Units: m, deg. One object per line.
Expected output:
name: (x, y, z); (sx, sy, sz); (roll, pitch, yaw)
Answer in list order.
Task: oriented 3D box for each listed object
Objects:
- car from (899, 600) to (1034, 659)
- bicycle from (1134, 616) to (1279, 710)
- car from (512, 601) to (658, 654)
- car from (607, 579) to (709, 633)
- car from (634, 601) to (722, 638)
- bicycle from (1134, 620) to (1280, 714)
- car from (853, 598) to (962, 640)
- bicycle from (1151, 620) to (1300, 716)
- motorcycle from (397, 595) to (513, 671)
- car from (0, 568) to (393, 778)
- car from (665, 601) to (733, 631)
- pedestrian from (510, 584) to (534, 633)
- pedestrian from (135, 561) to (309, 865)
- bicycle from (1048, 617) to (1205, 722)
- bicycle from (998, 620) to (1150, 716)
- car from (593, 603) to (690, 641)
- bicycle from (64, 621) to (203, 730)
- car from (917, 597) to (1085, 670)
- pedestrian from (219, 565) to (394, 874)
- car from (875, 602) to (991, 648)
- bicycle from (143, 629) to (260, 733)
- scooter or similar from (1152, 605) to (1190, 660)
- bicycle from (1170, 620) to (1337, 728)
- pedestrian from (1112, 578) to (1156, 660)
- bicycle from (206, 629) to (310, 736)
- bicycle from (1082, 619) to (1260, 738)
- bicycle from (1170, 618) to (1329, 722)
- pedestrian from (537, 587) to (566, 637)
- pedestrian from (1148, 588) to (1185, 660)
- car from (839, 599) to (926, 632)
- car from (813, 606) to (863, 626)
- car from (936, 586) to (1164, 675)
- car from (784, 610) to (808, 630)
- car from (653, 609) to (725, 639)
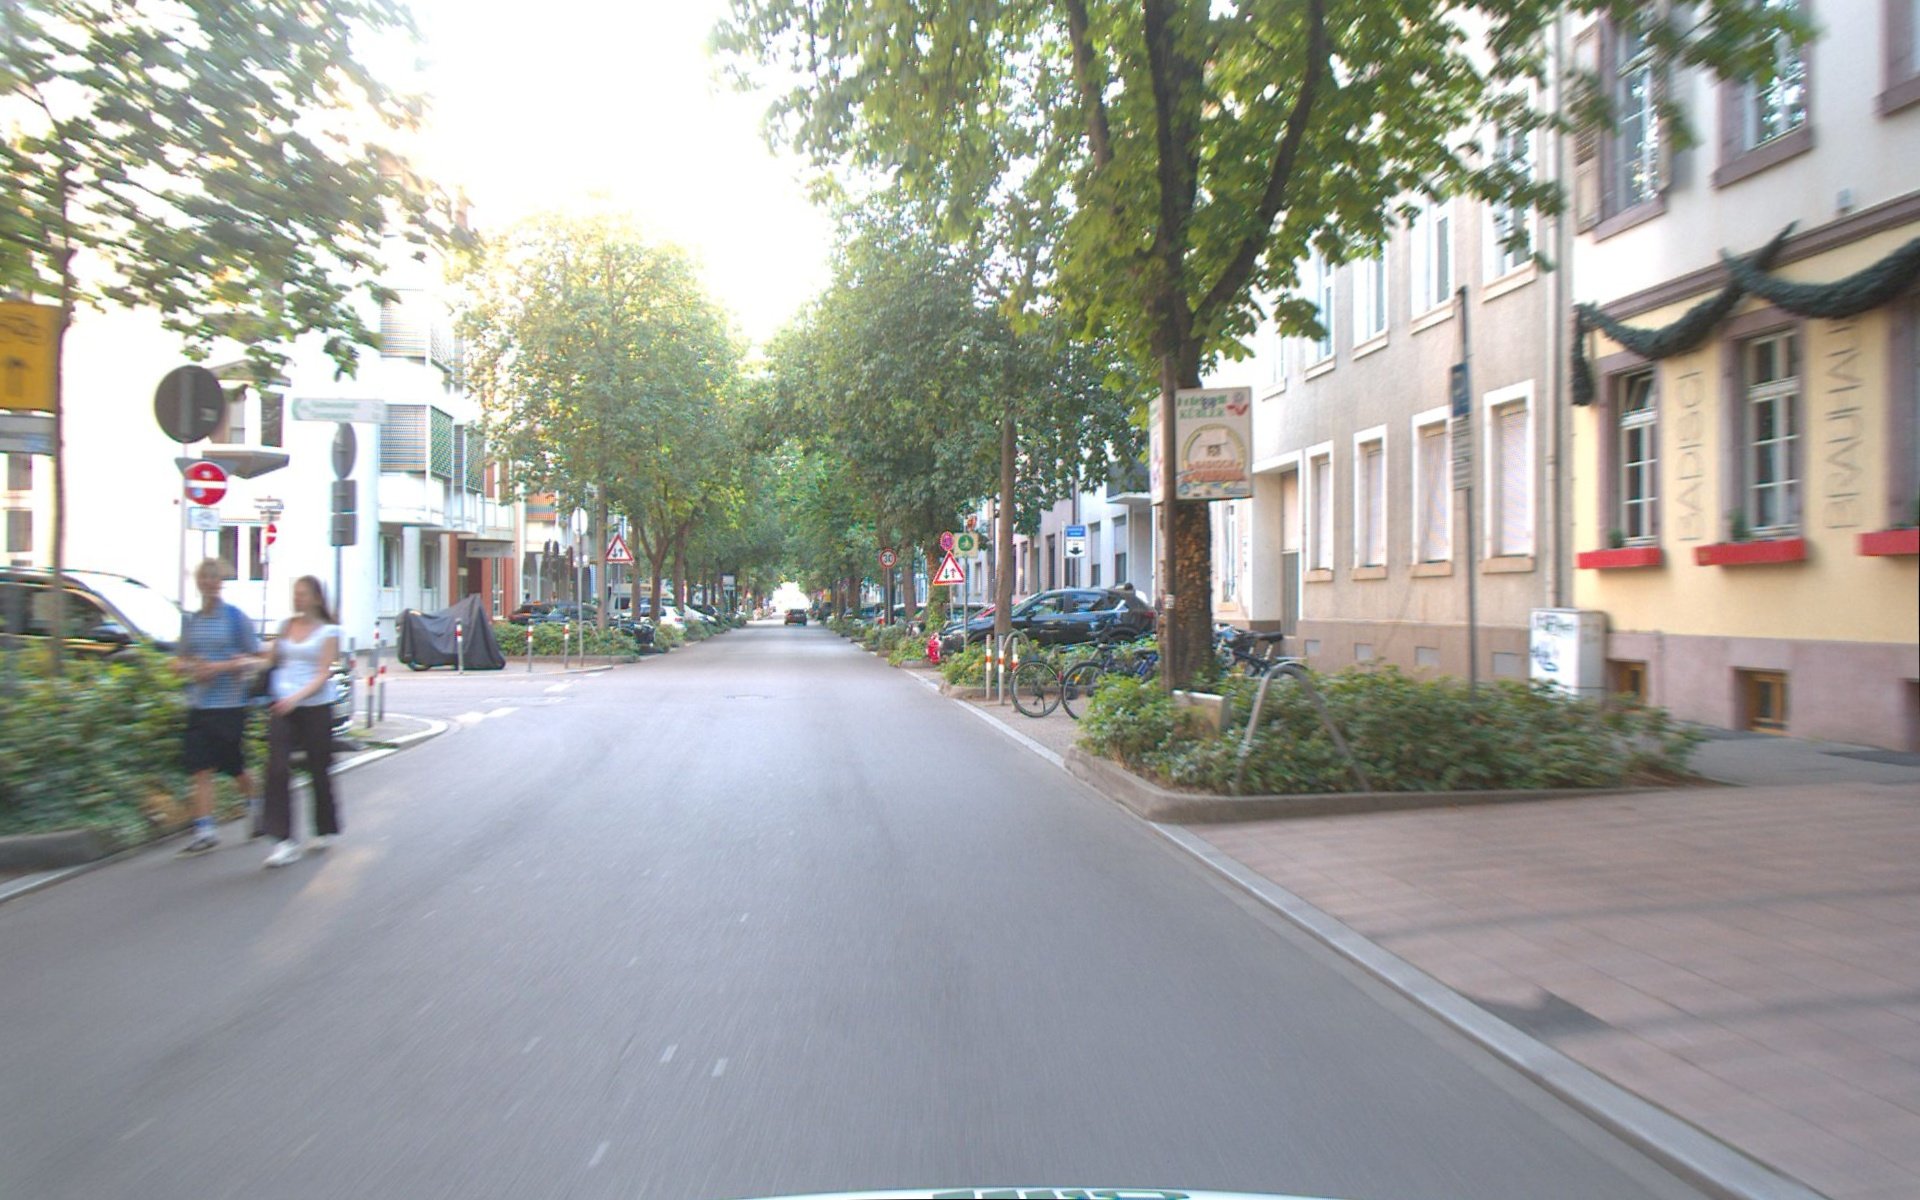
car: (0.141, 0.788, 44.847); (3.418, 1.478, 1.896); (-1, 0, -8)
bicycle: (3.250, 0.815, 21.818); (1.764, 1.163, 0.666); (-1, 0, -15)
car: (-11.166, 0.808, 49.540); (4.049, 1.512, 1.926); (1, 0, -7)
car: (-14.327, 0.303, 78.580); (4.592, 2.521, 1.997); (0, -1, -6)
car: (-15.467, 1.080, 90.949); (4.592, 1.886, 1.960); (-2, -1, -6)
bicycle: (3.148, 0.838, 21.118); (1.762, 1.127, 0.499); (-1, 0, -12)
car: (-2.274, 0.810, 71.396); (4.625, 1.740, 1.948); (0, 0, -5)
bicycle: (3.302, 0.835, 20.613); (1.762, 1.127, 0.499); (-1, 0, -12)
motorcycle: (-10.330, 0.670, 33.813); (2.180, 1.507, 0.853); (0, 1, -25)
car: (-7.554, 0.592, 14.751); (4.340, 1.680, 1.871); (2, 0, -5)
car: (-18.526, 1.138, 117.611); (4.671, 2.019, 1.960); (-2, -1, -6)
pedestrian: (-15.828, 0.311, 59.741); (0.689, 1.758, 0.904); (0, -1, -6)
pedestrian: (-4.497, 0.658, 10.135); (0.780, 1.767, 0.829); (-1, 0, -11)
bicycle: (2.009, 0.830, 20.093); (1.795, 1.199, 0.600); (-1, 0, -7)
bicycle: (1.464, 0.862, 21.367); (1.808, 1.155, 0.741); (-1, 0, -17)
car: (-13.503, 0.933, 70.278); (3.794, 1.512, 1.755); (1, 0, -5)
bicycle: (-8.854, 0.800, 17.804); (0.655, 1.081, 1.859); (3, -2, -6)
car: (0.857, 0.715, 36.355); (3.418, 1.478, 1.896); (-1, 0, -8)
pedestrian: (-3.781, 0.661, 9.634); (0.780, 1.700, 0.829); (-1, 0, -11)
car: (-0.959, 0.848, 57.588); (3.805, 1.465, 1.844); (-1, 0, -9)
bicycle: (-8.141, 0.858, 17.824); (0.512, 1.037, 1.859); (3, -2, -6)
scooter or similar: (4.612, 0.701, 36.164); (0.642, 1.173, 0.830); (-1, 0, -5)
bicycle: (3.355, 0.830, 18.942); (1.763, 1.148, 0.662); (-1, 0, -12)
pedestrian: (3.821, 0.410, 36.278); (0.684, 1.767, 0.665); (-1, 0, -37)
bicycle: (-7.557, 0.875, 17.883); (0.512, 1.077, 1.858); (3, -2, -8)
bicycle: (2.273, 0.833, 17.908); (1.795, 1.199, 0.672); (-1, 0, -7)
bicycle: (3.456, 0.818, 19.775); (1.764, 1.163, 0.649); (-1, 0, -15)
pedestrian: (-14.804, 0.433, 59.948); (0.688, 1.788, 0.740); (0, -1, 18)
pedestrian: (4.565, 0.519, 36.642); (0.642, 1.563, 0.830); (-1, 0, -5)
car: (-4.053, 0.821, 86.641); (4.418, 1.548, 1.994); (-2, 0, -3)
car: (-10.519, 1.340, 142.268); (4.186, 1.593, 1.960); (-2, 0, -6)
car: (1.748, 0.592, 33.121); (4.339, 1.685, 1.898); (-1, 0, -5)
car: (-13.746, 1.701, 138.893); (1.919, 1.593, 4.277); (-2, 0, -6)
car: (-16.130, 1.415, 98.633); (4.122, 1.664, 1.960); (-2, -1, -6)
